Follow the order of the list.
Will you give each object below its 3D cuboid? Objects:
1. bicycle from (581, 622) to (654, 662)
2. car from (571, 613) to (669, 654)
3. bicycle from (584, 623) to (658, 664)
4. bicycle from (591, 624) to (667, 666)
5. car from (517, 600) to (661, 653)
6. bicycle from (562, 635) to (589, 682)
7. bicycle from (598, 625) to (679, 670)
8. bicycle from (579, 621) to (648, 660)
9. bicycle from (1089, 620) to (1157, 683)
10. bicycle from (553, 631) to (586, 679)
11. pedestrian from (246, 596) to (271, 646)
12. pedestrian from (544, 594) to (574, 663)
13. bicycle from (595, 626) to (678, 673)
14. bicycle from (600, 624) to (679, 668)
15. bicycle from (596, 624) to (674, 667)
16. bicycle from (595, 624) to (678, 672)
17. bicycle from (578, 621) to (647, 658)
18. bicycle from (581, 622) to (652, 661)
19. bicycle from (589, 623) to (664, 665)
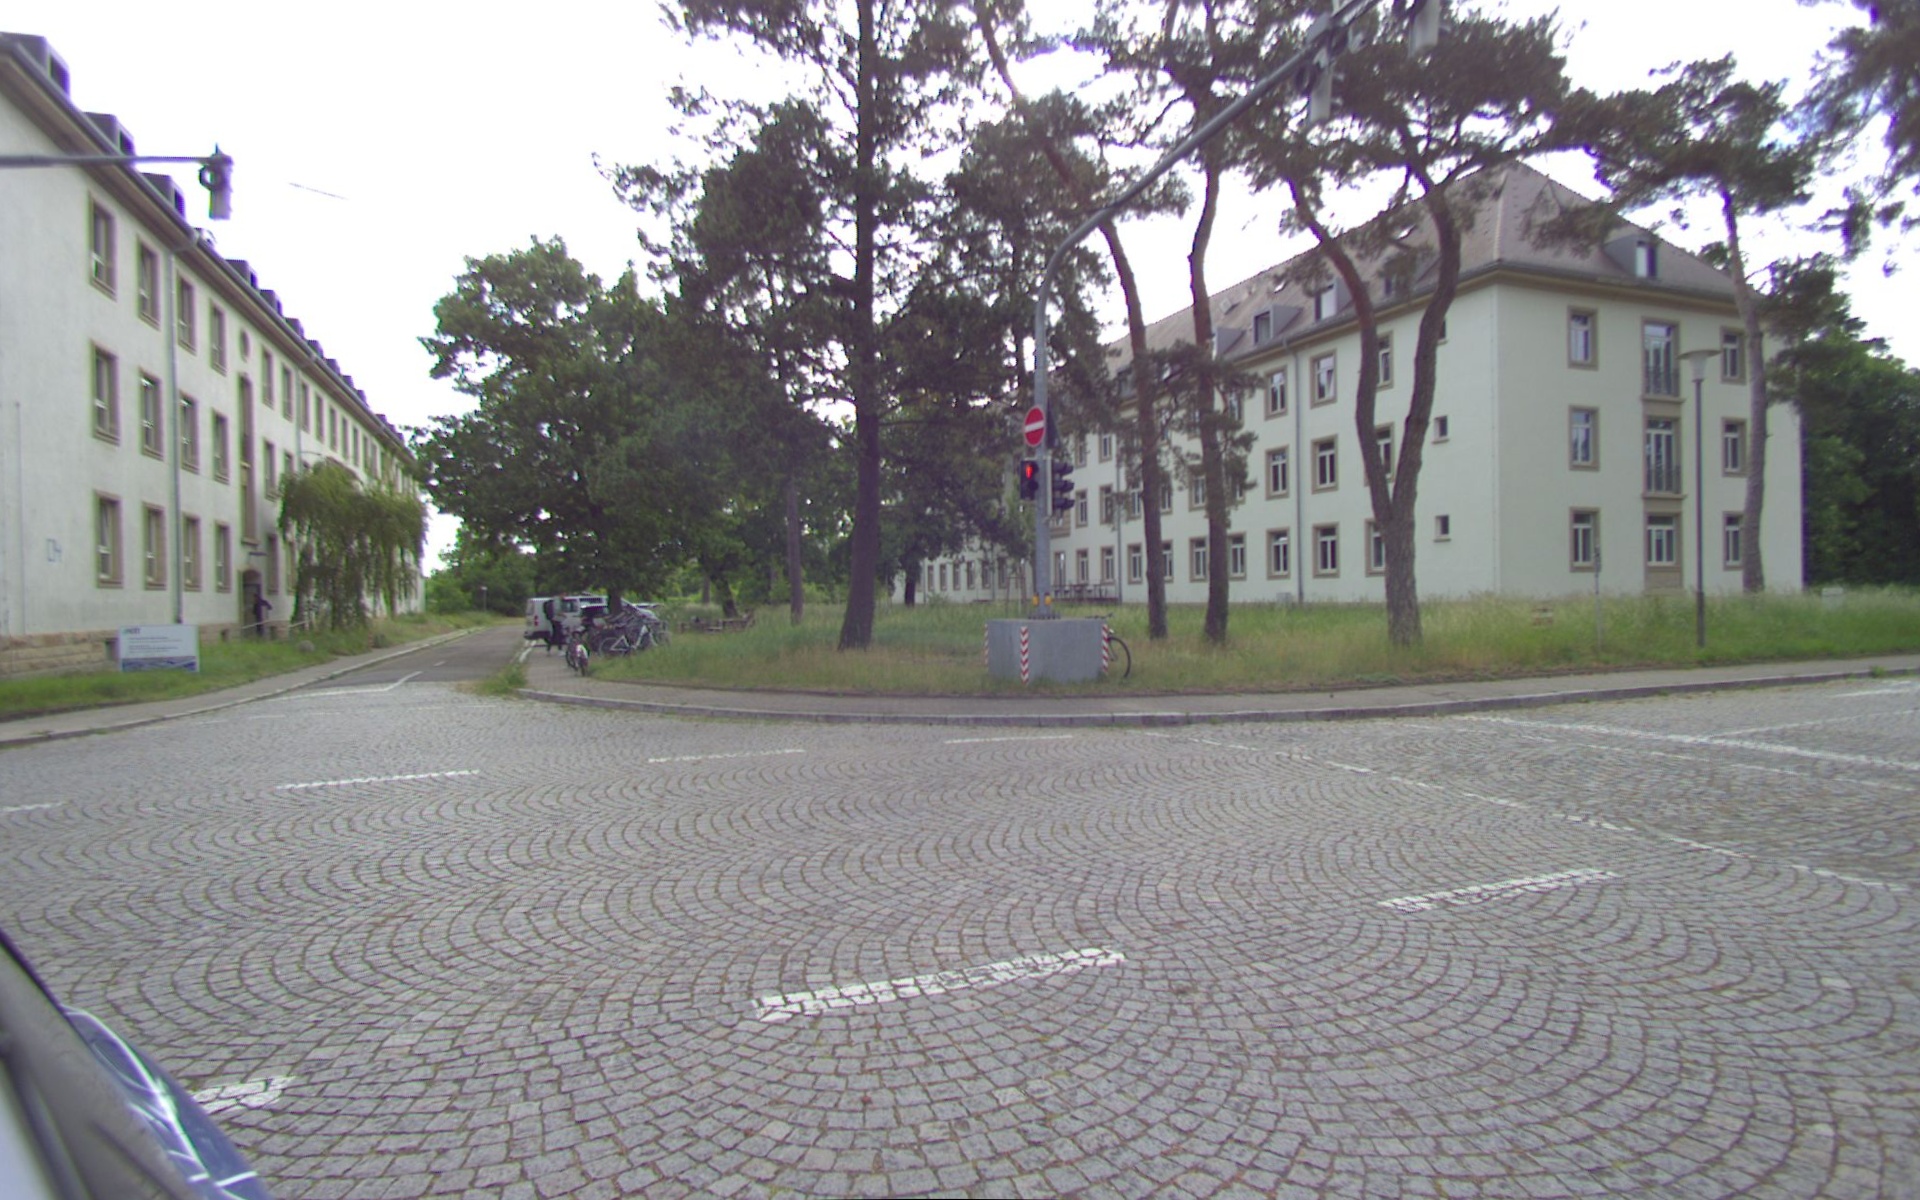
[{"bbox_3d":[-9.858,1.204,29.134,1.918,1.073,0.564,-1,0,-23],"label":"bicycle"},{"bbox_3d":[-13.073,1.248,38.872,3.382,1.460,1.920,-1,0,-23],"label":"car"},{"bbox_3d":[-9.530,1.204,28.500,1.918,1.073,0.564,-1,0,-23],"label":"bicycle"},{"bbox_3d":[-9.005,1.203,27.535,1.918,1.073,0.564,-1,0,-23],"label":"bicycle"},{"bbox_3d":[-15.333,1.050,41.904,5.275,2.014,2.298,-1,0,-30],"label":"car"},{"bbox_3d":[-8.048,1.206,21.201,0.452,0.916,1.667,-1,0,-18],"label":"bicycle"},{"bbox_3d":[-8.253,1.210,25.983,1.918,1.073,0.564,-1,0,-23],"label":"bicycle"},{"bbox_3d":[-10.418,1.203,30.427,1.918,1.073,0.564,-1,0,-23],"label":"bicycle"},{"bbox_3d":[2.478,0.769,15.486,0.289,0.923,1.055,-1,-1,-43],"label":"bicycle"},{"bbox_3d":[-8.810,1.221,22.866,0.452,0.981,1.667,-1,0,-13],"label":"bicycle"},{"bbox_3d":[-24.333,0.736,35.108,0.559,1.714,0.534,-1,-1,-18],"label":"pedestrian"},{"bbox_3d":[-11.560,0.824,29.186,0.780,1.952,0.590,-1,-1,-21],"label":"pedestrian"},{"bbox_3d":[-7.970,1.213,24.925,1.867,1.073,0.618,-1,0,-23],"label":"bicycle"},{"bbox_3d":[-8.419,1.207,26.616,1.918,1.073,0.564,-1,0,-23],"label":"bicycle"},{"bbox_3d":[-8.680,1.207,27.037,1.918,1.073,0.564,-1,0,-23],"label":"bicycle"},{"bbox_3d":[-8.129,1.188,25.462,1.918,1.119,0.564,-1,0,-23],"label":"bicycle"},{"bbox_3d":[-10.638,1.202,30.988,1.918,1.073,0.564,-1,0,-23],"label":"bicycle"},{"bbox_3d":[-10.122,1.203,29.814,1.918,1.073,0.564,-1,0,-23],"label":"bicycle"},{"bbox_3d":[-9.230,1.203,28.029,1.918,1.073,0.564,-1,0,-23],"label":"bicycle"}]
